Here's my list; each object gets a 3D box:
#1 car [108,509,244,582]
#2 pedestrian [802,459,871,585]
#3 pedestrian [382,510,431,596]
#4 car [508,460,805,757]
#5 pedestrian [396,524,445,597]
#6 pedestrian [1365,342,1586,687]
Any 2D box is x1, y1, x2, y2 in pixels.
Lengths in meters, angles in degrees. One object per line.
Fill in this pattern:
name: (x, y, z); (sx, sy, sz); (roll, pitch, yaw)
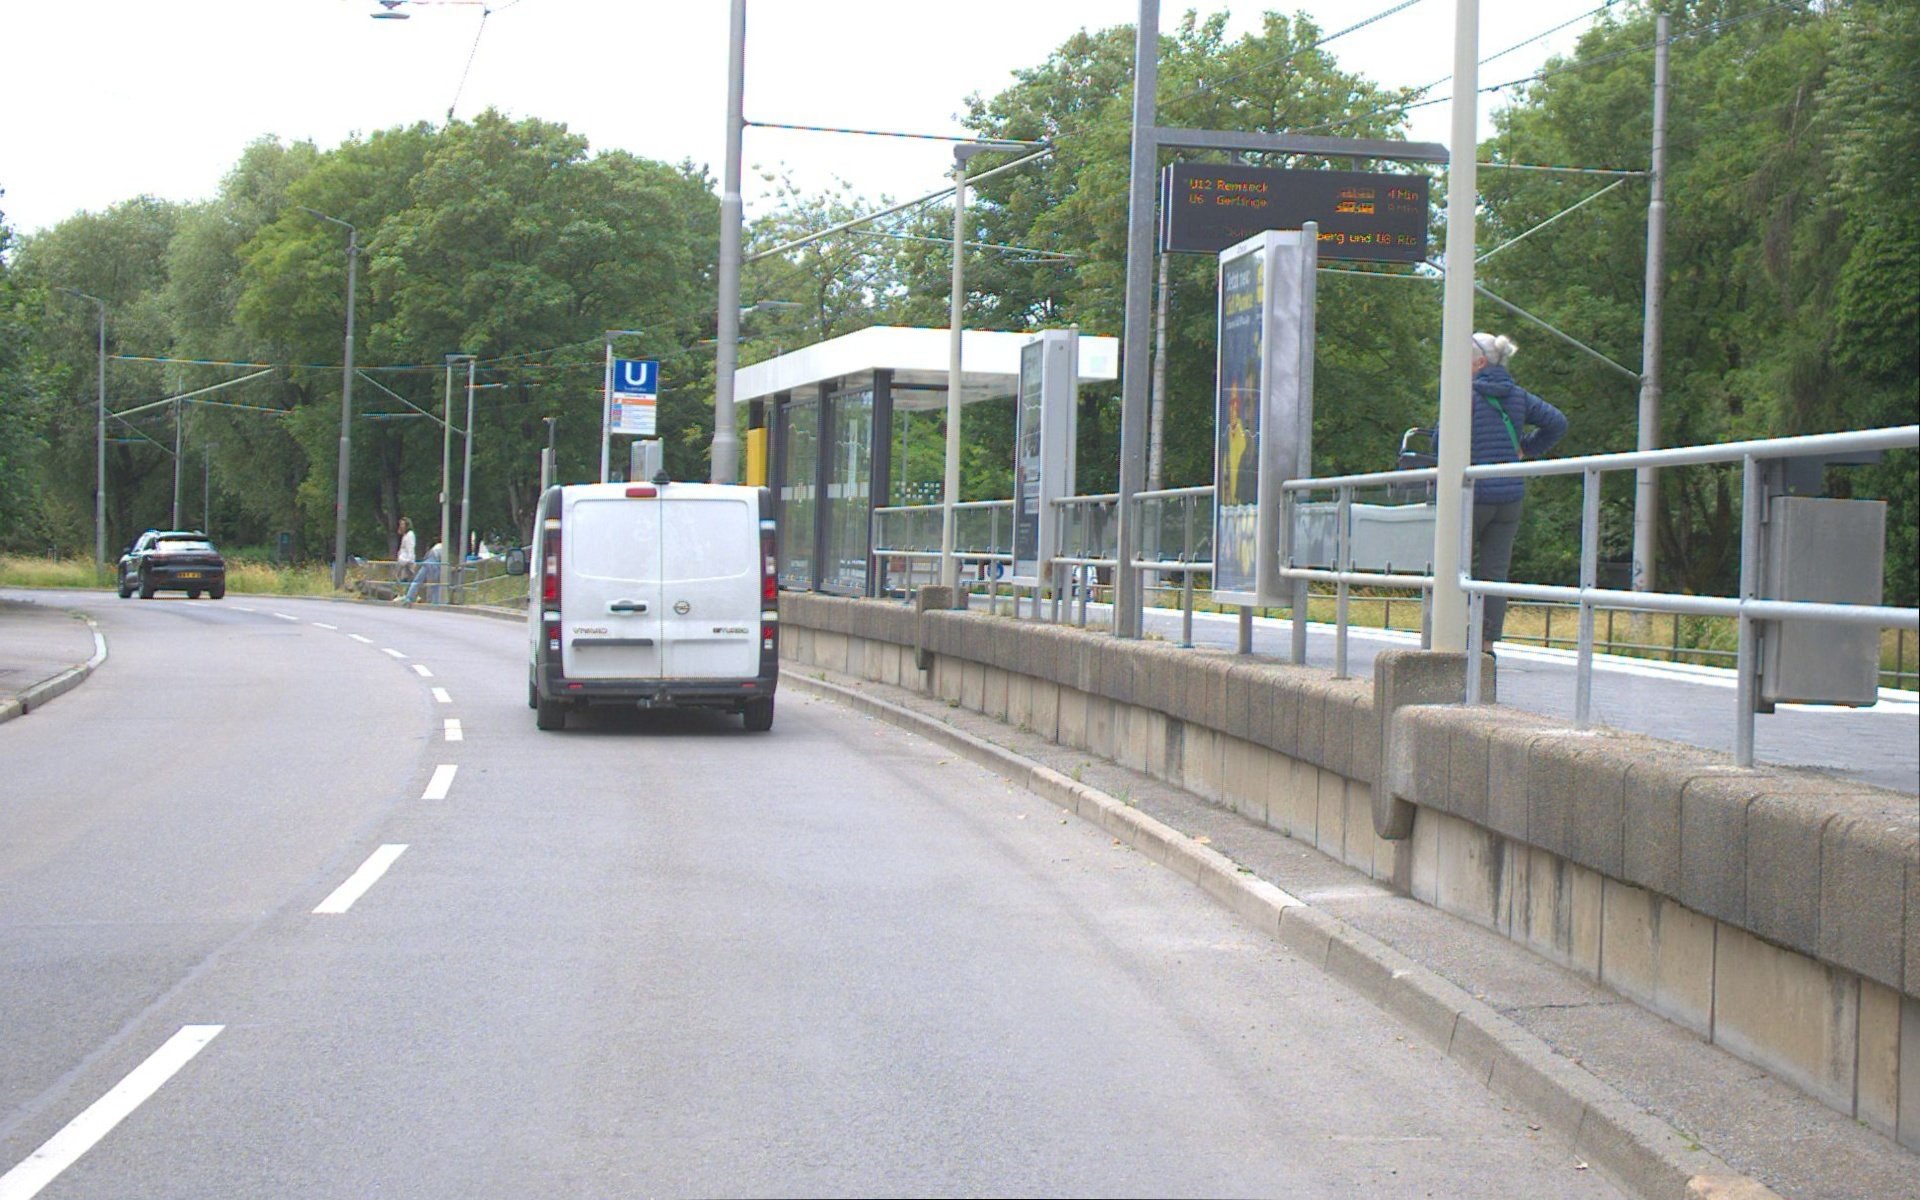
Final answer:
car: (-18.722, -1.316, 81.930); (2.355, 1.559, 4.374); (3, 0, -23)
pedestrian: (-1.403, -0.895, 39.079); (0.638, 1.399, 0.765); (1, 2, -11)
pedestrian: (-11.614, -0.984, 72.143); (0.758, 1.789, 0.631); (1, 1, -37)
car: (-2.608, 0.012, 28.323); (2.116, 2.127, 5.442); (3, 1, -7)
pedestrian: (-11.110, -0.807, 70.763); (0.758, 1.487, 0.631); (1, 1, -37)
pedestrian: (2.578, -0.426, 17.286); (0.886, 1.665, 0.910); (2, 1, -3)
